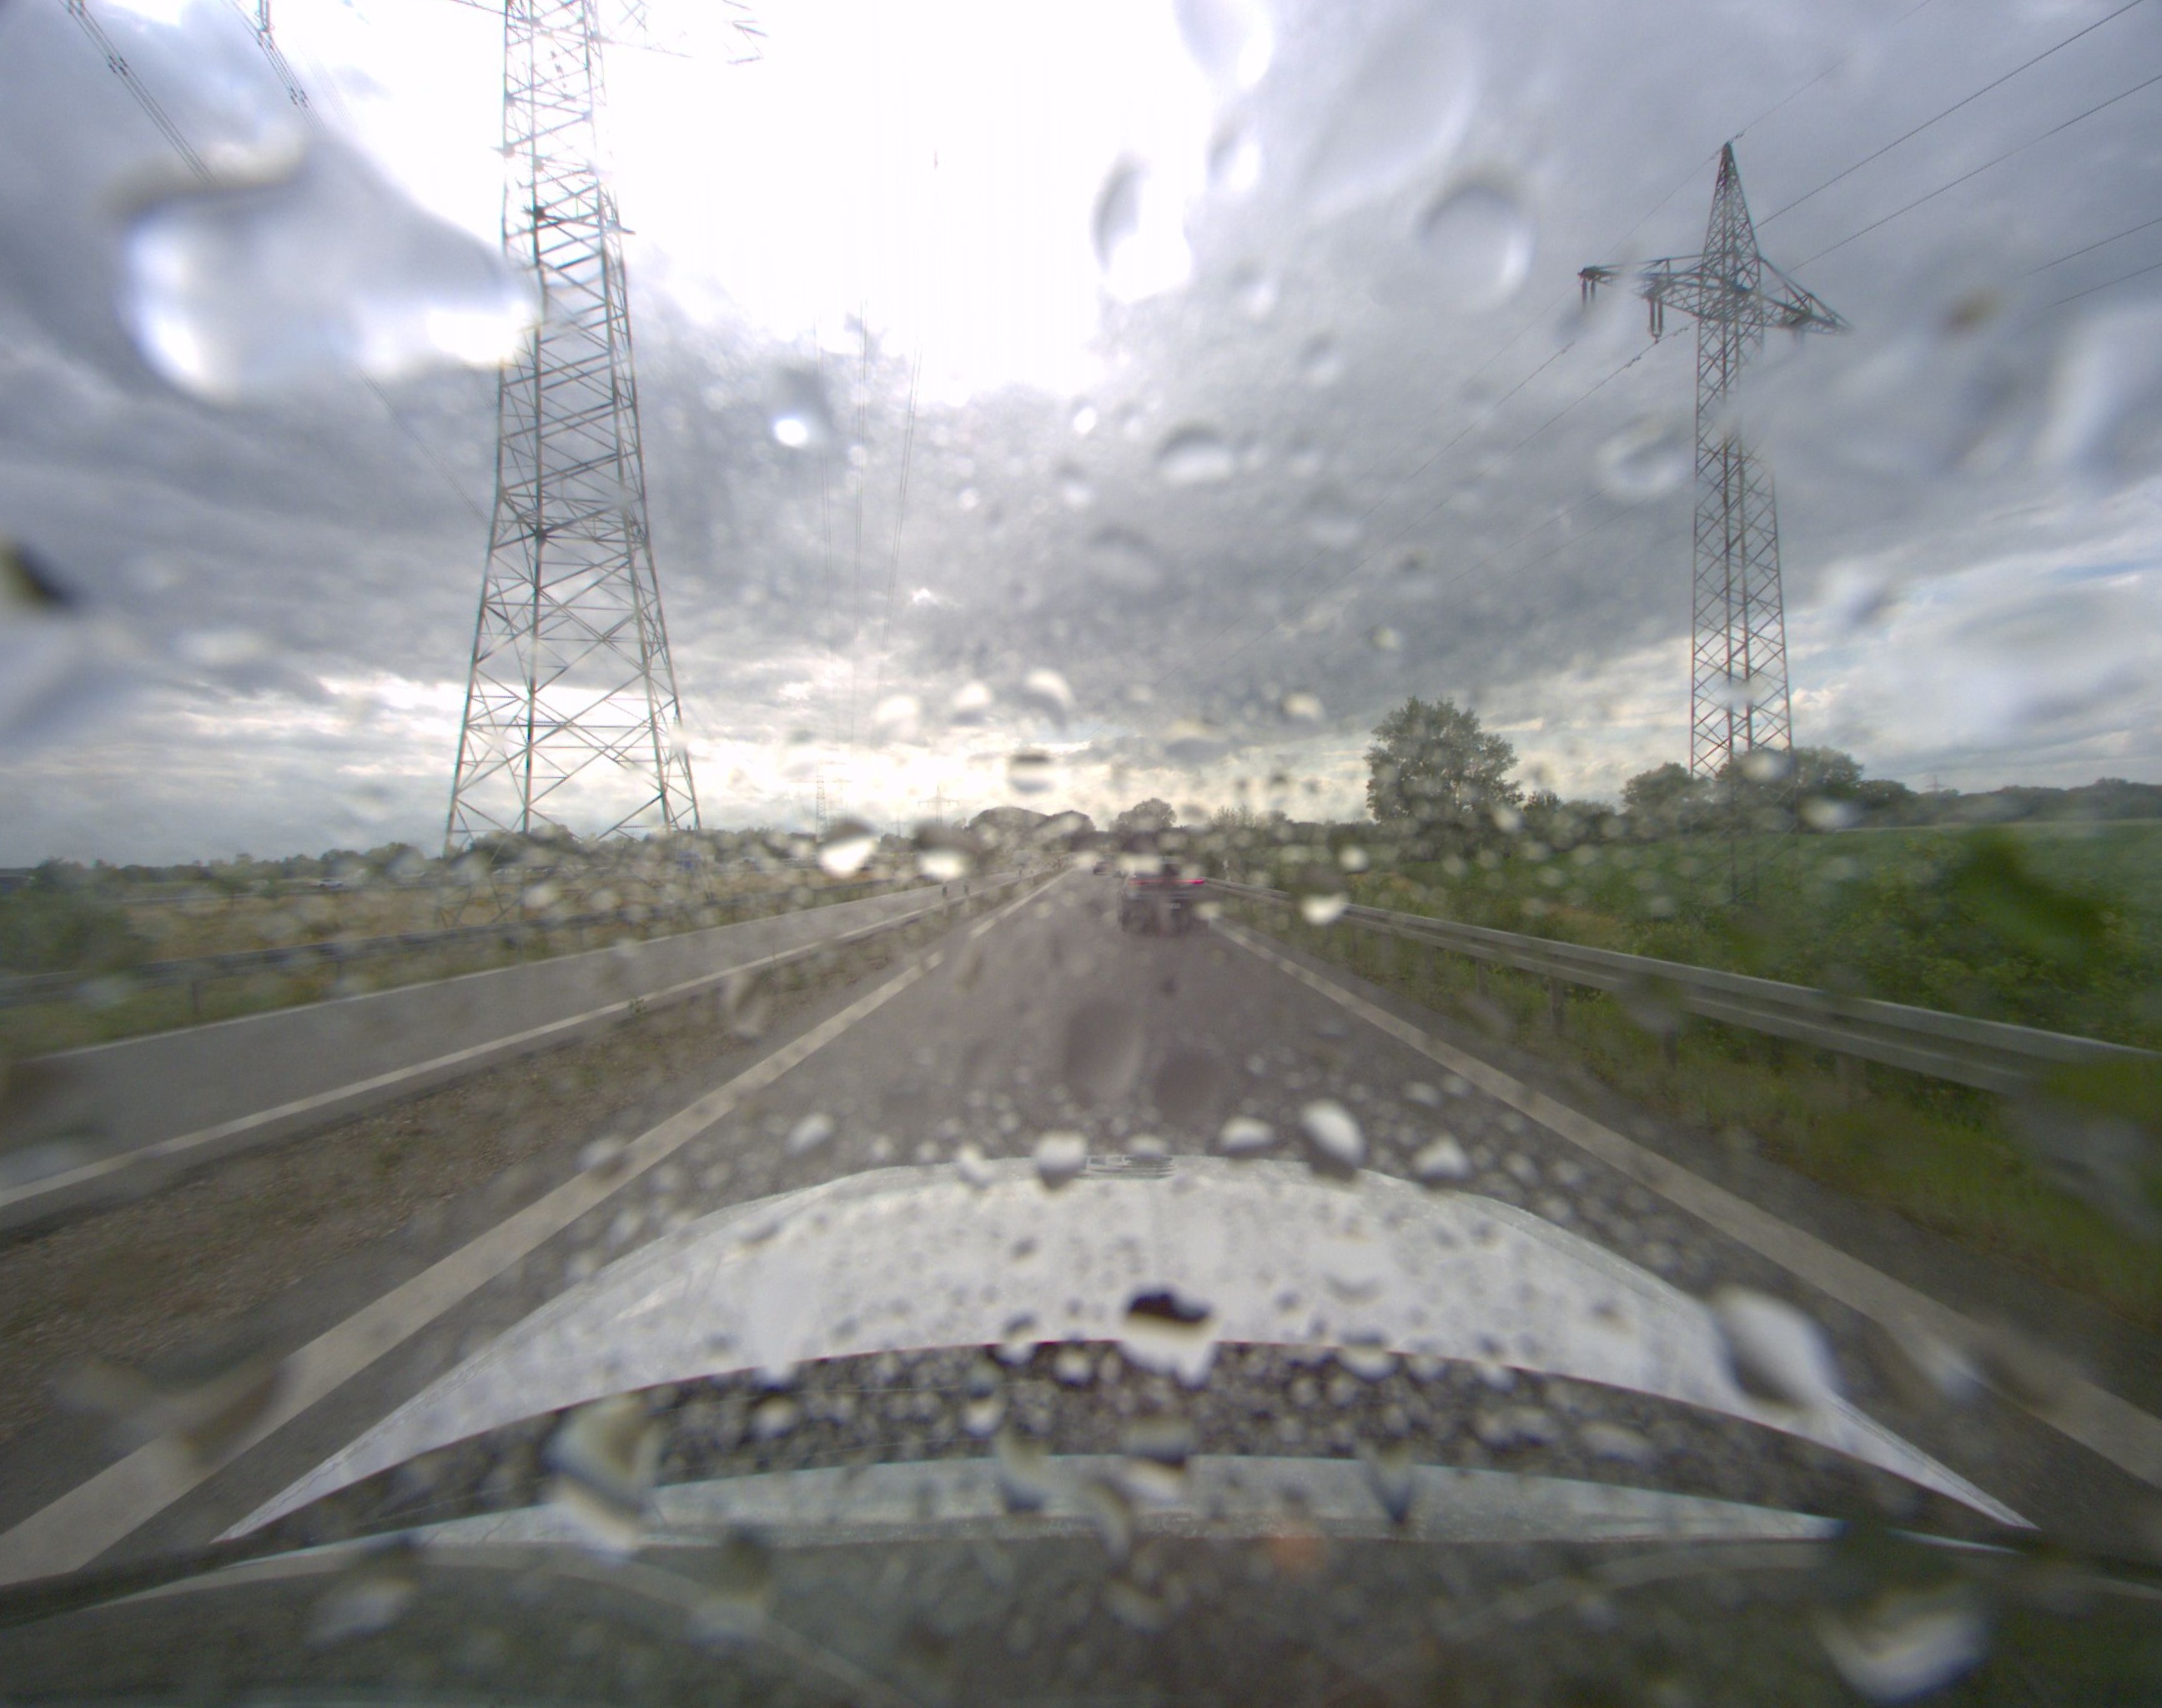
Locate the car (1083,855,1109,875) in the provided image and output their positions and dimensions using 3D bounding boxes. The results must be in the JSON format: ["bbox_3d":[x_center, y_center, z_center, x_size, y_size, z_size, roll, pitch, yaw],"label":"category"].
[{"bbox_3d":[1.893,1.419,106.715,2.352,2.306,5.111,-2,2,-11],"label":"car"}]

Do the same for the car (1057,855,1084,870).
[{"bbox_3d":[-1.868,1.439,143.272,2.367,2.306,5.078,-3,2,-31],"label":"car"}]

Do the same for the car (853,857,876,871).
[{"bbox_3d":[-57.936,2.700,217.644,3.407,3.610,8.951,-2,0,-33],"label":"car"}]

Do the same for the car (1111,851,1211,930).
[{"bbox_3d":[1.711,0.735,18.308,1.985,1.566,4.152,-1,0,3],"label":"car"}]

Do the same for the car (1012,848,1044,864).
[{"bbox_3d":[-10.754,0.433,165.498,3.160,2.951,7.130,-3,3,-36],"label":"car"}]

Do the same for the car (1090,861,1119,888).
[{"bbox_3d":[1.968,1.702,69.833,2.115,2.018,5.530,-2,0,-2],"label":"car"}]
